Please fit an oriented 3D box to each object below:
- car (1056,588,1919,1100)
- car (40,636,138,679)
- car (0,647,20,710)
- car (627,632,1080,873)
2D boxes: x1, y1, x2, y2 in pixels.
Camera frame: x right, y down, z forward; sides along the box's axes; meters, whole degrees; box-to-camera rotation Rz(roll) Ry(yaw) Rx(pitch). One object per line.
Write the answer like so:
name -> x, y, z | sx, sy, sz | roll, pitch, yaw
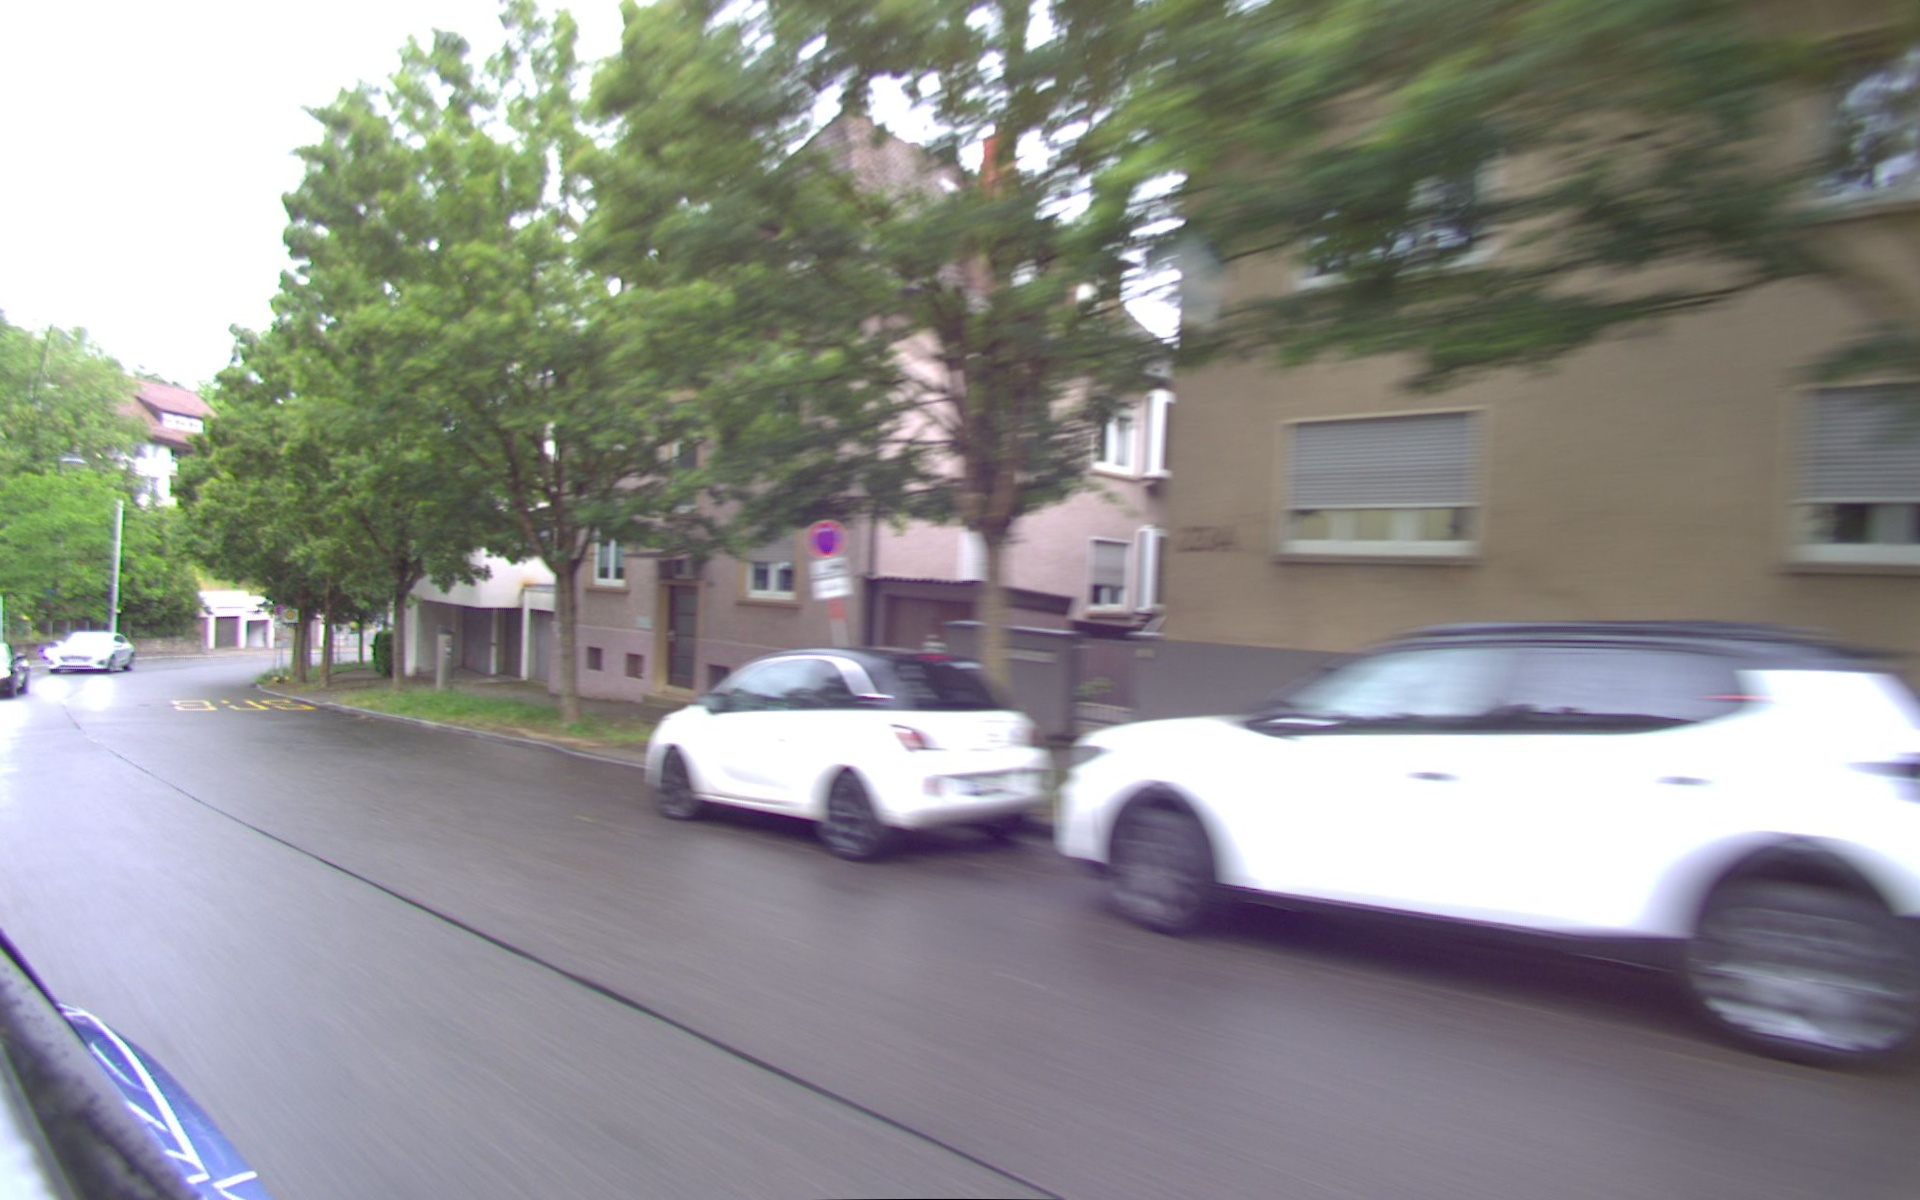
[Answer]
car -> 2.560, 0.899, 4.868 | 3.919, 1.671, 1.576 | -1, -7, 39
car -> -35.629, 2.342, 41.527 | 1.979, 1.674, 4.459 | 2, -3, -27
car -> -24.895, 1.924, 25.405 | 1.781, 1.500, 4.020 | 3, -4, -44
car -> -1.003, 1.073, 8.138 | 3.670, 1.482, 1.599 | -2, -8, 45
